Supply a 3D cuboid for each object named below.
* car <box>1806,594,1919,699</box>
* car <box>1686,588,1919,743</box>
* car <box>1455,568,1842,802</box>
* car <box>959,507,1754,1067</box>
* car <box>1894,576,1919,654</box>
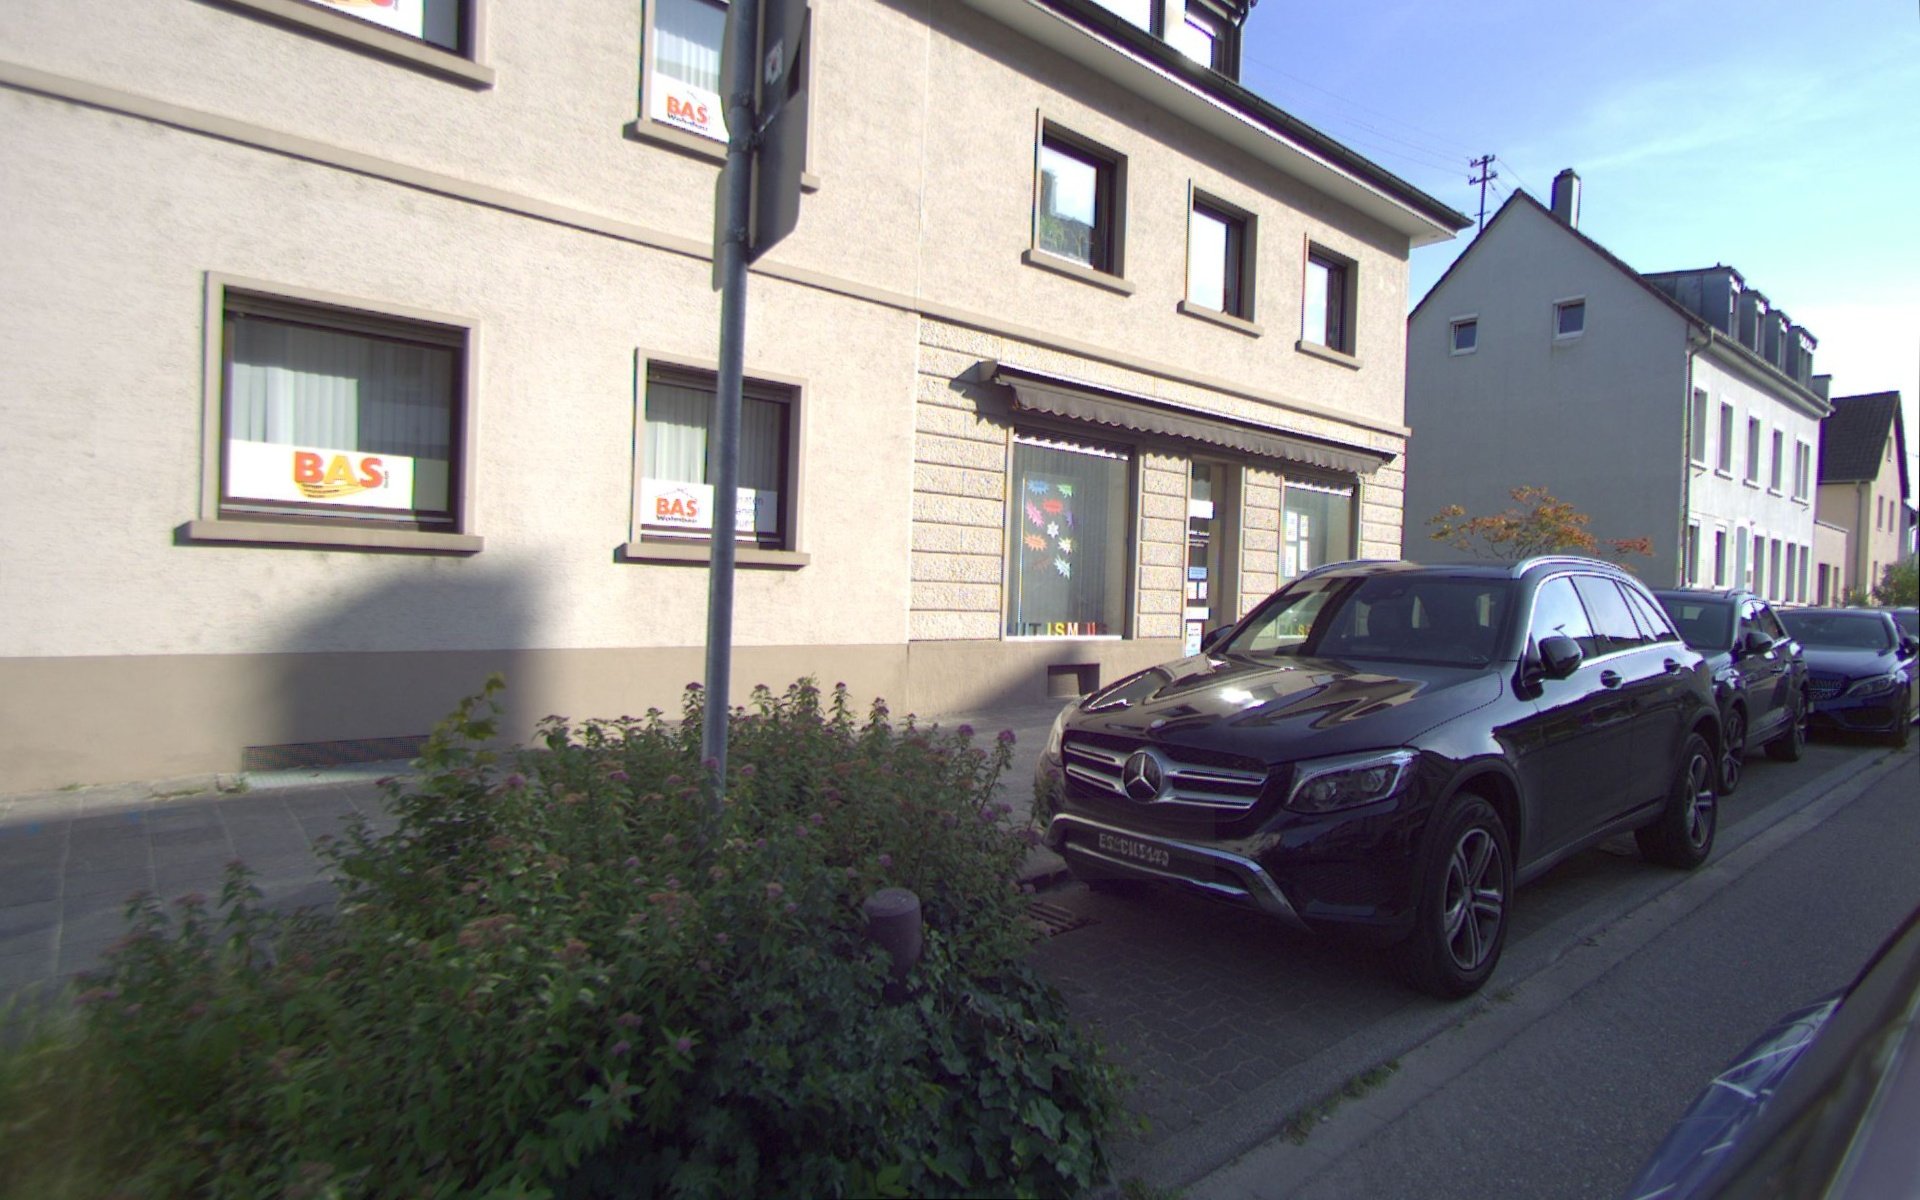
[{"bbox_3d":[14.862,0.671,15.873,4.418,1.438,1.782,0,1,-41],"label":"car"},{"bbox_3d":[10.384,0.633,11.979,4.527,1.437,1.834,0,2,-40],"label":"car"},{"bbox_3d":[6.305,0.570,9.071,4.242,1.579,1.833,0,2,-41],"label":"car"},{"bbox_3d":[2.269,0.522,5.098,4.384,1.650,1.834,0,2,-40],"label":"car"},{"bbox_3d":[25.635,0.447,25.660,4.525,1.879,2.082,1,2,-38],"label":"car"}]
